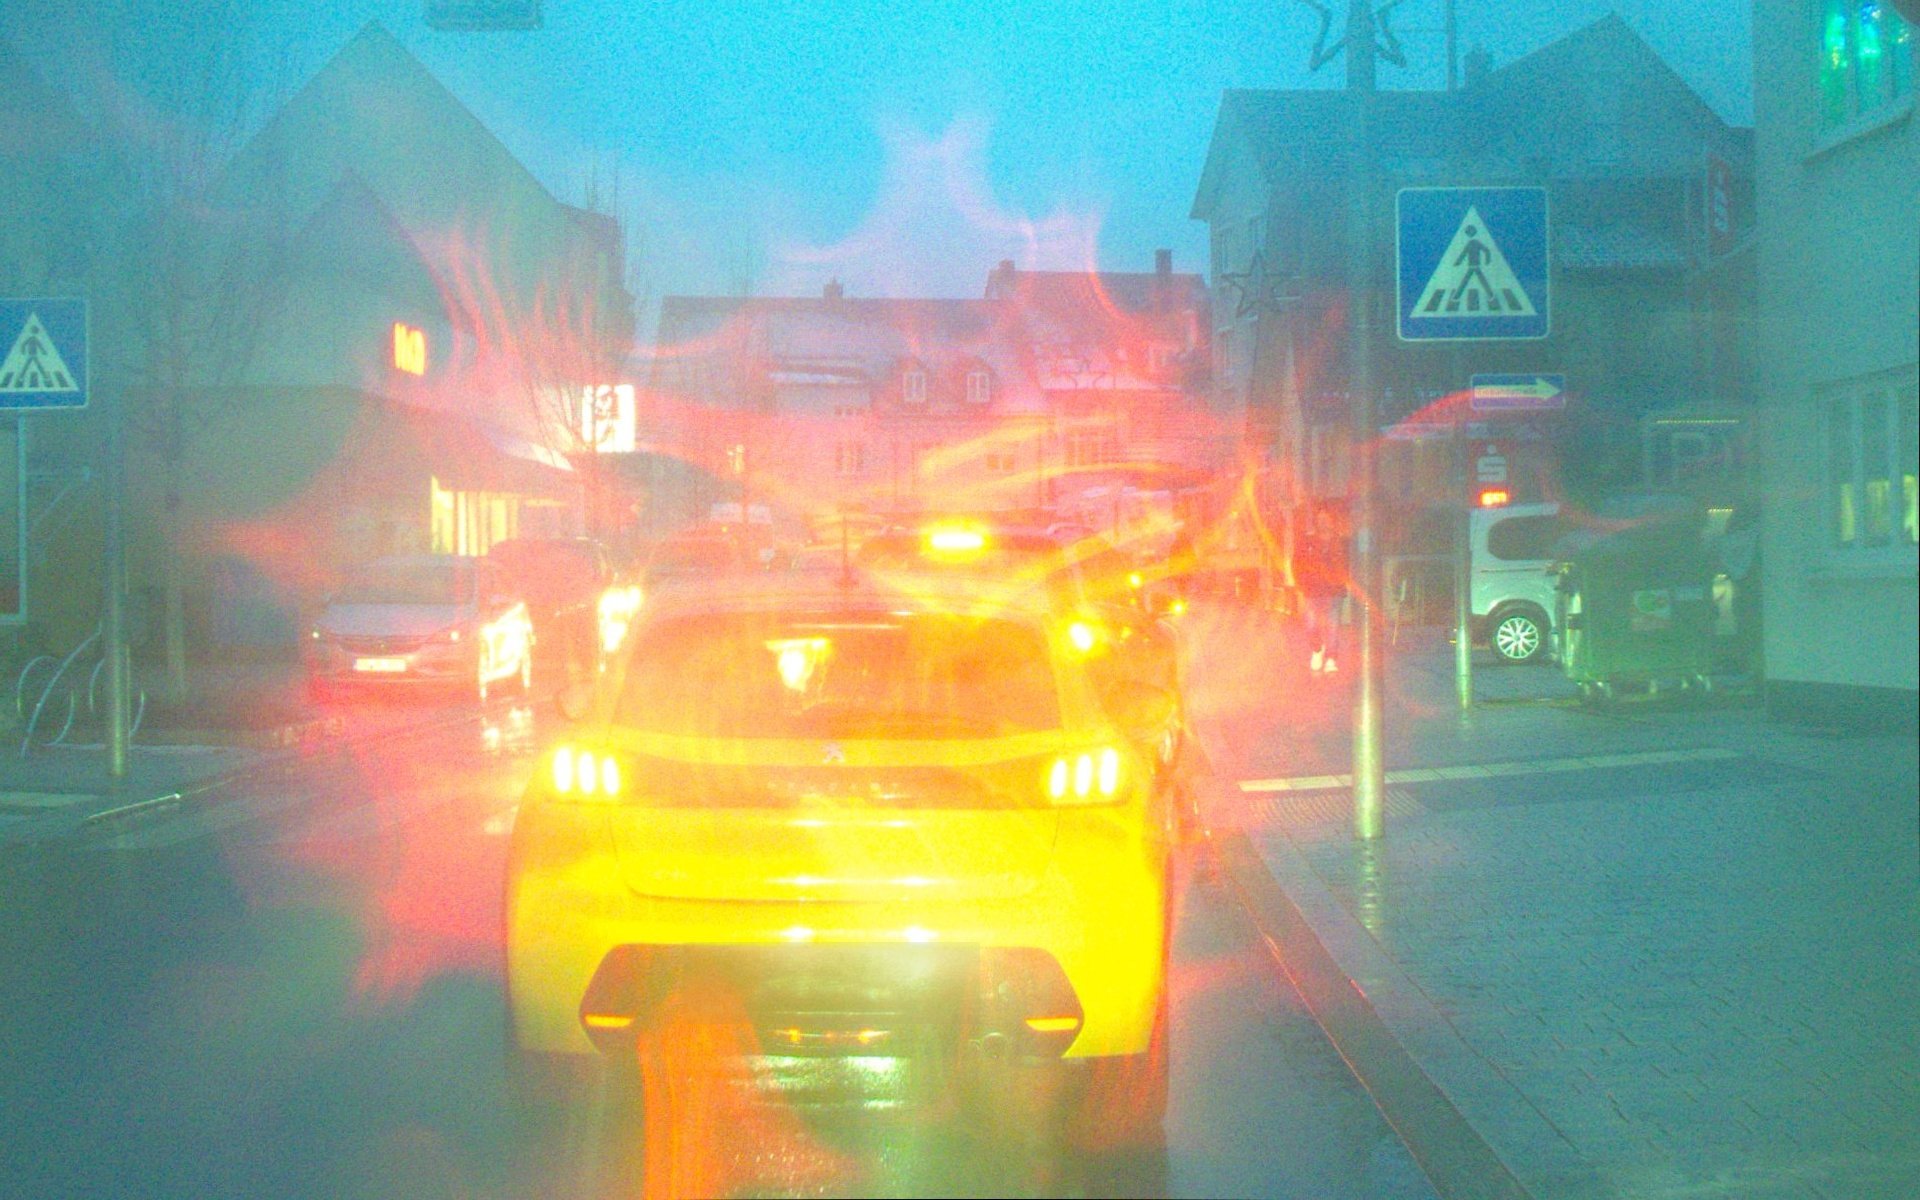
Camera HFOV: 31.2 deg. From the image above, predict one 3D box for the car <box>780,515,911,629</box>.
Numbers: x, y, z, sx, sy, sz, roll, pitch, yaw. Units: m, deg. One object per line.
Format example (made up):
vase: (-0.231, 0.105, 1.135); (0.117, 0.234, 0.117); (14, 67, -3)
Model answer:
car: (-1.880, -0.506, 57.788); (1.993, 1.700, 4.967); (2, 2, 0)

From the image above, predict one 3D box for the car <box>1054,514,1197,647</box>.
car: (2.435, -0.306, 50.597); (1.994, 1.851, 4.000); (1, 1, 3)

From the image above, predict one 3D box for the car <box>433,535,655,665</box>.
car: (-5.118, -0.037, 42.934); (1.993, 1.517, 4.978); (0, 1, 2)

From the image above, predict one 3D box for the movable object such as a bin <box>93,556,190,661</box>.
movable object such as a bin: (-10.675, 0.108, 44.860); (1.149, 1.349, 0.852); (0, 1, -8)

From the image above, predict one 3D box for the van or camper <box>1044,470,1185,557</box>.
van or camper: (5.713, -3.203, 128.552); (2.650, 3.037, 6.736); (-4, 2, -21)

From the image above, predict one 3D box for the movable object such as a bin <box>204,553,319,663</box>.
movable object such as a bin: (-9.139, 0.096, 45.008); (1.340, 1.349, 0.889); (-4, 1, -7)

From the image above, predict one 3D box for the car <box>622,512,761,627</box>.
car: (-4.322, -0.544, 56.091); (2.085, 1.786, 5.025); (0, 1, -2)

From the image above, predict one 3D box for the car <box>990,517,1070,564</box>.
car: (2.592, -2.206, 127.900); (1.993, 1.605, 4.175); (-3, 0, -12)

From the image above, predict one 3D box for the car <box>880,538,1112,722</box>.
car: (0.268, 0.231, 31.901); (1.993, 1.583, 4.000); (1, 1, -1)

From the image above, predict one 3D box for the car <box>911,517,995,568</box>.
car: (-0.277, -2.149, 127.640); (1.993, 1.759, 4.352); (-3, 2, -15)

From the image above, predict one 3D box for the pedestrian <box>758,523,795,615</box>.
pedestrian: (-3.184, -0.547, 59.635); (0.574, 1.580, 0.530); (-1, 2, 2)

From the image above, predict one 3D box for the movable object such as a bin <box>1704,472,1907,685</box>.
movable object such as a bin: (6.895, -0.182, 28.103); (1.285, 1.638, 1.185); (-3, 1, -1)

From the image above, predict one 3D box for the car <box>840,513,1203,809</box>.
car: (0.290, 0.308, 20.997); (1.992, 1.619, 4.000); (1, 1, -1)

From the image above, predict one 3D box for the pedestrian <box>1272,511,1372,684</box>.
pedestrian: (3.997, -0.033, 38.018); (0.966, 1.883, 1.006); (1, 1, -1)

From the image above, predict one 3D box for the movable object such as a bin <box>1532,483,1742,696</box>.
movable object such as a bin: (5.534, -0.098, 28.183); (1.393, 1.638, 1.262); (-3, 1, -1)

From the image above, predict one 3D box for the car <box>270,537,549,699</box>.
car: (-5.641, 0.130, 35.804); (1.994, 1.552, 4.620); (1, 1, 2)

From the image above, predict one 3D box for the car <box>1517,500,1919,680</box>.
car: (7.063, -0.092, 30.638); (3.987, 1.481, 1.912); (-1, 0, 5)

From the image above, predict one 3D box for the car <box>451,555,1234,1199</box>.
car: (-0.290, 0.646, 10.036); (1.814, 1.528, 4.000); (1, 1, 0)

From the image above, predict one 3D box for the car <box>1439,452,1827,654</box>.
car: (7.537, -0.525, 38.681); (4.092, 2.042, 1.999); (-2, 1, 10)
